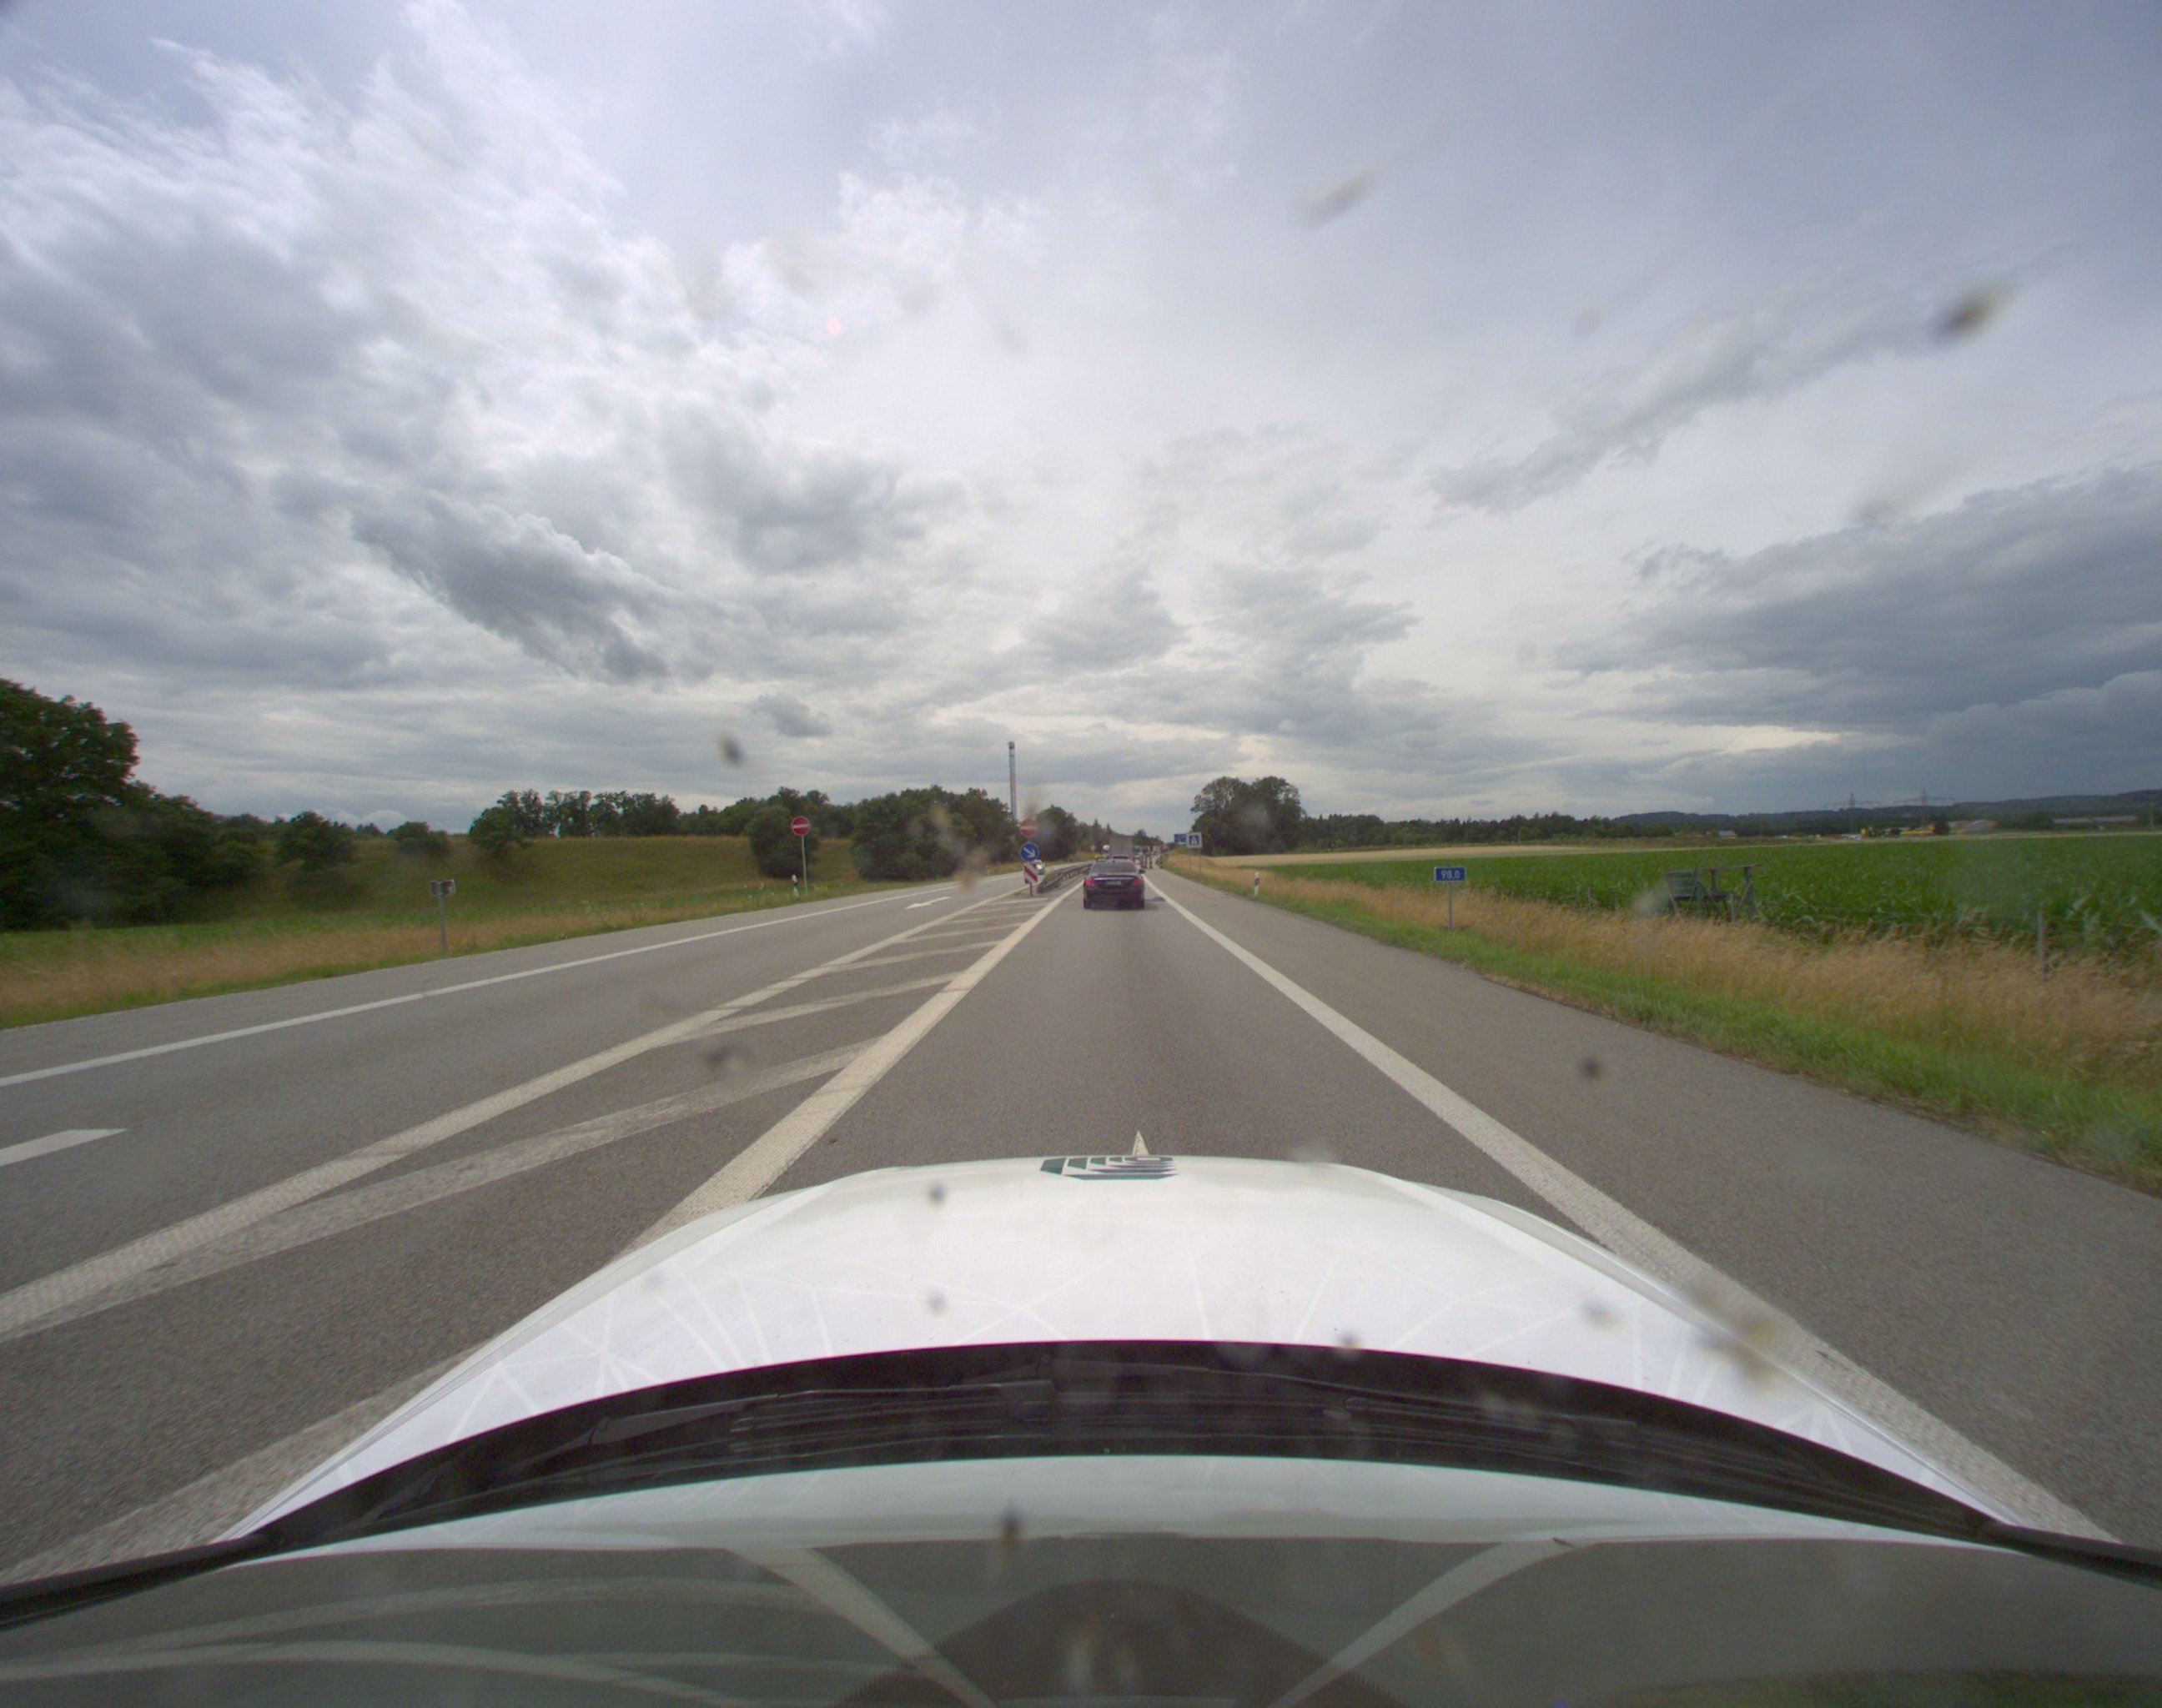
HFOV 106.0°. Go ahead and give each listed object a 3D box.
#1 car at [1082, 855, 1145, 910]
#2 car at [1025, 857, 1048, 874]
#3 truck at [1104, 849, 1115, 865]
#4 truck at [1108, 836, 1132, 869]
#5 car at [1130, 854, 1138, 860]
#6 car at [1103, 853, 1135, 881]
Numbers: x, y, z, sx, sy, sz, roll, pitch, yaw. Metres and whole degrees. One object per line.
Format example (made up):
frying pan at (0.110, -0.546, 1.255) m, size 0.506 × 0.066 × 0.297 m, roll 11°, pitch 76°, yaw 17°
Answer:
car at (1.024, 0.846, 25.199) m, size 1.788 × 1.560 × 4.002 m, roll 1°, pitch -1°, yaw 3°
car at (-4.413, 1.175, 80.753) m, size 1.810 × 1.632 × 4.604 m, roll 1°, pitch -1°, yaw 2°
truck at (7.393, 0.860, 210.522) m, size 2.786 × 4.142 × 7.235 m, roll 1°, pitch -1°, yaw 4°
truck at (4.278, -0.135, 88.908) m, size 2.576 × 3.525 × 4.816 m, roll 1°, pitch -1°, yaw 3°
car at (13.217, 0.797, 202.908) m, size 1.643 × 1.396 × 3.705 m, roll 1°, pitch -1°, yaw 0°
car at (2.858, 1.013, 62.261) m, size 1.990 × 2.014 × 3.993 m, roll 1°, pitch -1°, yaw -4°
